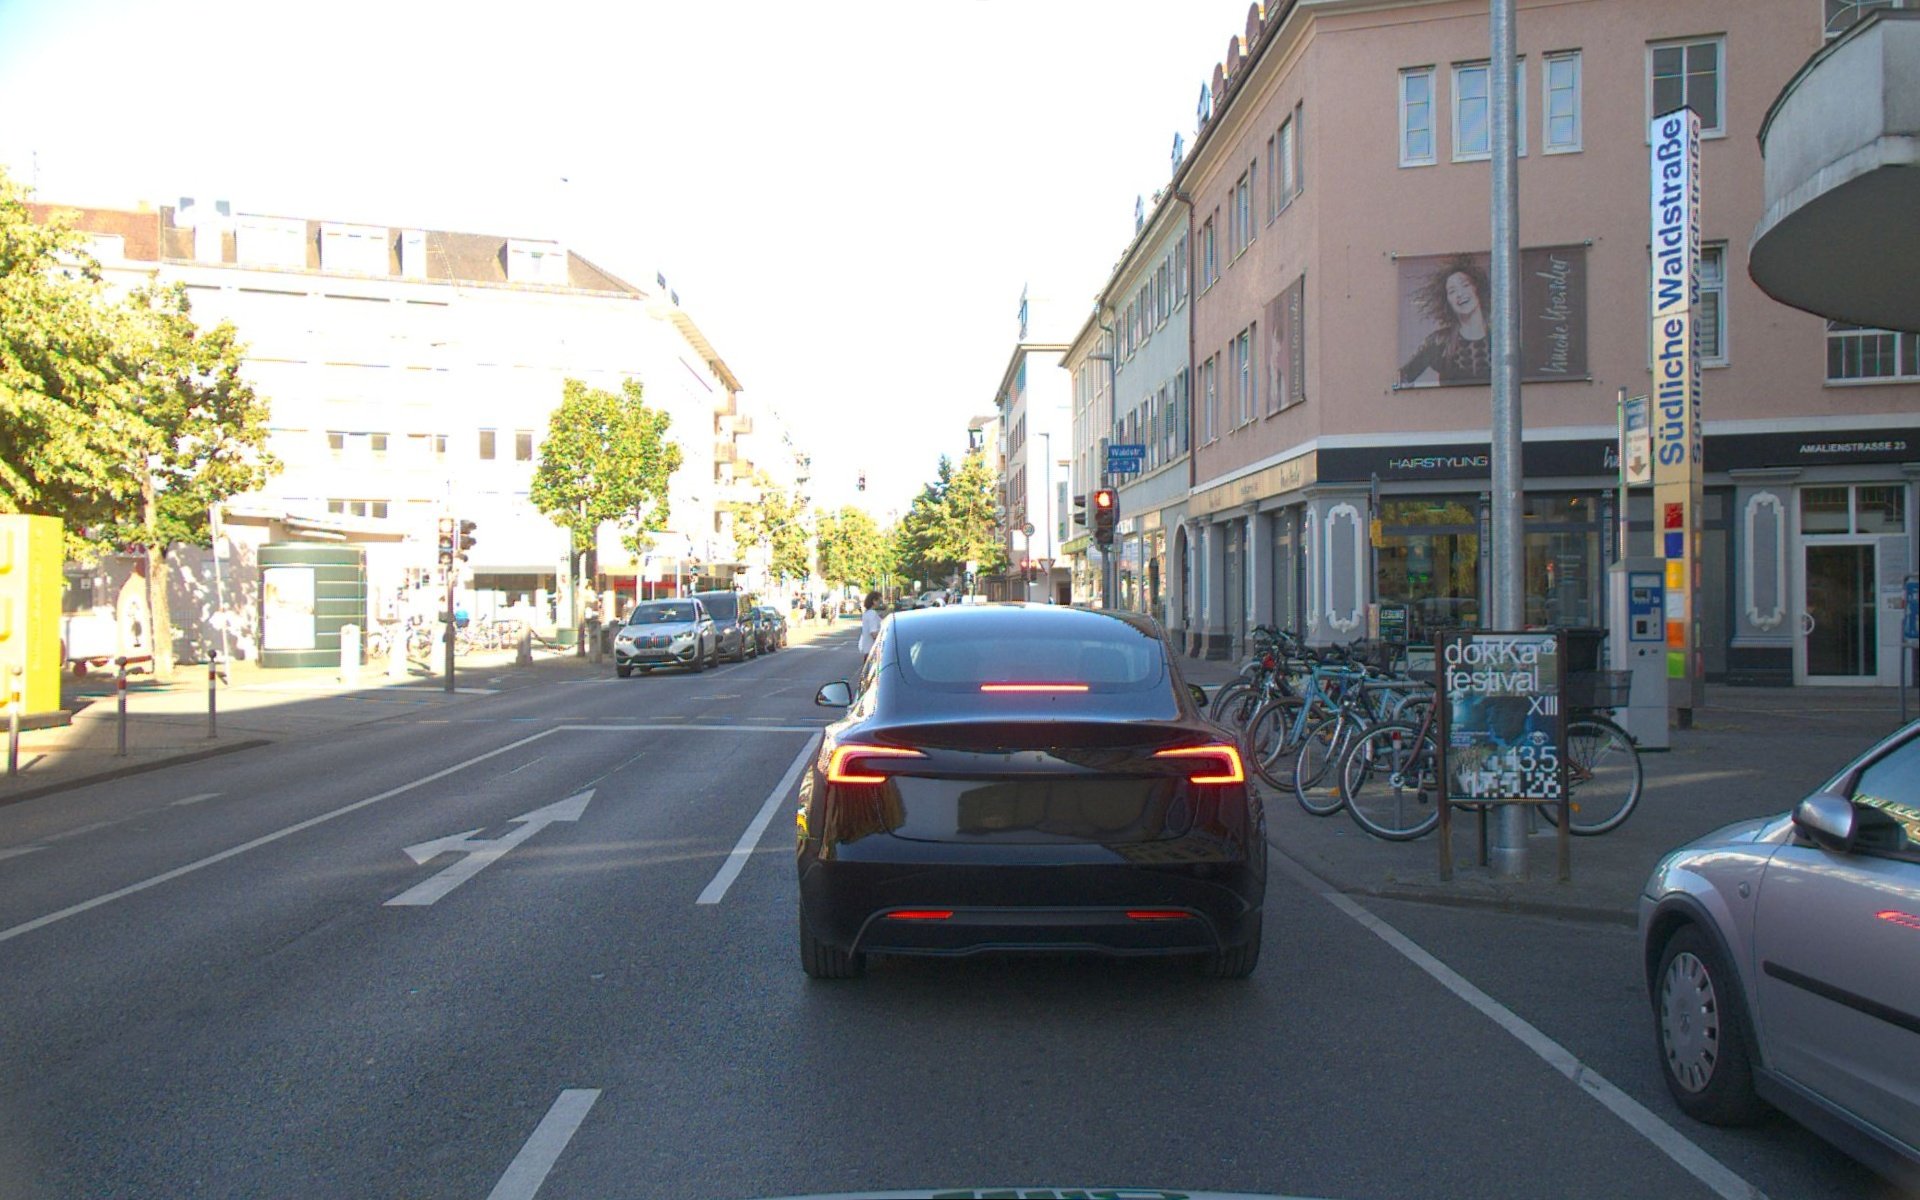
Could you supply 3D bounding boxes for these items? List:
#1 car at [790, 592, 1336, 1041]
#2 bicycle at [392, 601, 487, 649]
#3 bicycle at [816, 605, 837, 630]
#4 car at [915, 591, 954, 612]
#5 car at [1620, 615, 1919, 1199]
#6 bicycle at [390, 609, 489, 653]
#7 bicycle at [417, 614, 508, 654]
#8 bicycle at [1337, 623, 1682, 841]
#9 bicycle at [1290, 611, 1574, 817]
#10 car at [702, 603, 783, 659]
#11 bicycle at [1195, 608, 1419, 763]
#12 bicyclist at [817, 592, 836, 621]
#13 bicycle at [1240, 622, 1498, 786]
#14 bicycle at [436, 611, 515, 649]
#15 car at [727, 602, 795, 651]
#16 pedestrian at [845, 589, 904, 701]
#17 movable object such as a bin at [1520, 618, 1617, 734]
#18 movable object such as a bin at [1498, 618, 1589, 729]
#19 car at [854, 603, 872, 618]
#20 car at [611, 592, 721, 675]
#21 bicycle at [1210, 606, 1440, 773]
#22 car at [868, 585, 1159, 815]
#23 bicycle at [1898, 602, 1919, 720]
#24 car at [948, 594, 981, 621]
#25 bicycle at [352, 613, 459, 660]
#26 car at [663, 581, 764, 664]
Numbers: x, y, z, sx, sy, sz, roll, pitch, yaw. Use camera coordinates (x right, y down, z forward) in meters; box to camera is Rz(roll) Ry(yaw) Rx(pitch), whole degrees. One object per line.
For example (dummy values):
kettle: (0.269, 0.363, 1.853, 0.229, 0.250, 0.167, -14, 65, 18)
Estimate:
car: (0.315, 0.721, 7.488, 1.810, 1.480, 3.999, 0, 0, -1)
bicycle: (-14.710, 0.697, 46.803, 2.429, 1.347, 0.921, 0, 0, -6)
bicycle: (-7.696, 1.001, 95.392, 1.089, 1.368, 3.997, 0, 0, -4)
car: (-2.567, 0.164, 167.507, 3.907, 2.049, 1.999, 0, 0, -2)
car: (2.932, 0.775, 3.508, 1.580, 1.406, 3.642, 1, 0, 0)
bicycle: (-14.102, 0.842, 44.880, 2.412, 1.176, 0.842, 0, 0, -2)
bicycle: (-14.888, 1.015, 49.557, 2.485, 1.176, 0.841, 0, 0, -6)
bicycle: (3.287, 0.781, 10.019, 1.846, 1.214, 0.692, -2, 1, 5)
bicycle: (3.140, 0.747, 11.149, 1.686, 1.290, 0.791, -2, 0, 5)
car: (-6.420, 0.884, 49.315, 1.954, 1.434, 4.671, -4, 0, -3)
bicycle: (3.054, 0.746, 14.708, 1.822, 1.280, 0.833, -2, 0, 5)
bicyclist: (-7.712, 0.374, 95.486, 1.104, 1.657, 0.964, 0, 0, -4)
bicycle: (3.057, 0.769, 12.499, 1.760, 1.144, 0.782, -2, 0, 5)
bicycle: (-15.212, 0.941, 51.980, 2.279, 1.176, 0.841, 0, 0, -6)
car: (-6.803, 0.872, 56.901, 1.954, 1.461, 4.671, -4, 0, -3)
pedestrian: (-1.233, 0.633, 23.853, 0.734, 1.579, 0.696, 0, 0, -14)
movable object such as a bin: (6.045, 0.746, 16.456, 0.737, 1.111, 0.627, 1, 0, 1)
movable object such as a bin: (6.024, 0.749, 17.093, 0.718, 1.111, 0.627, 1, 0, 1)
car: (-10.981, 1.218, 186.884, 1.954, 1.666, 3.997, 0, 0, -4)
car: (-6.380, 0.687, 36.249, 1.771, 1.582, 4.307, -4, 0, -3)
bicycle: (2.989, 0.719, 13.677, 1.709, 1.289, 0.781, -2, 0, 2)
car: (0.288, 0.666, 13.197, 1.953, 1.538, 4.173, 0, 0, -2)
bicycle: (10.267, 0.635, 17.009, 0.645, 1.220, 2.212, 0, 0, 18)
car: (0.232, 0.454, 100.813, 1.953, 1.657, 3.999, 0, 0, -1)
bicycle: (-14.189, 0.923, 42.346, 2.455, 1.176, 0.842, 0, 0, -2)
car: (-6.270, 0.531, 42.495, 1.797, 1.877, 4.674, -4, 0, 0)
